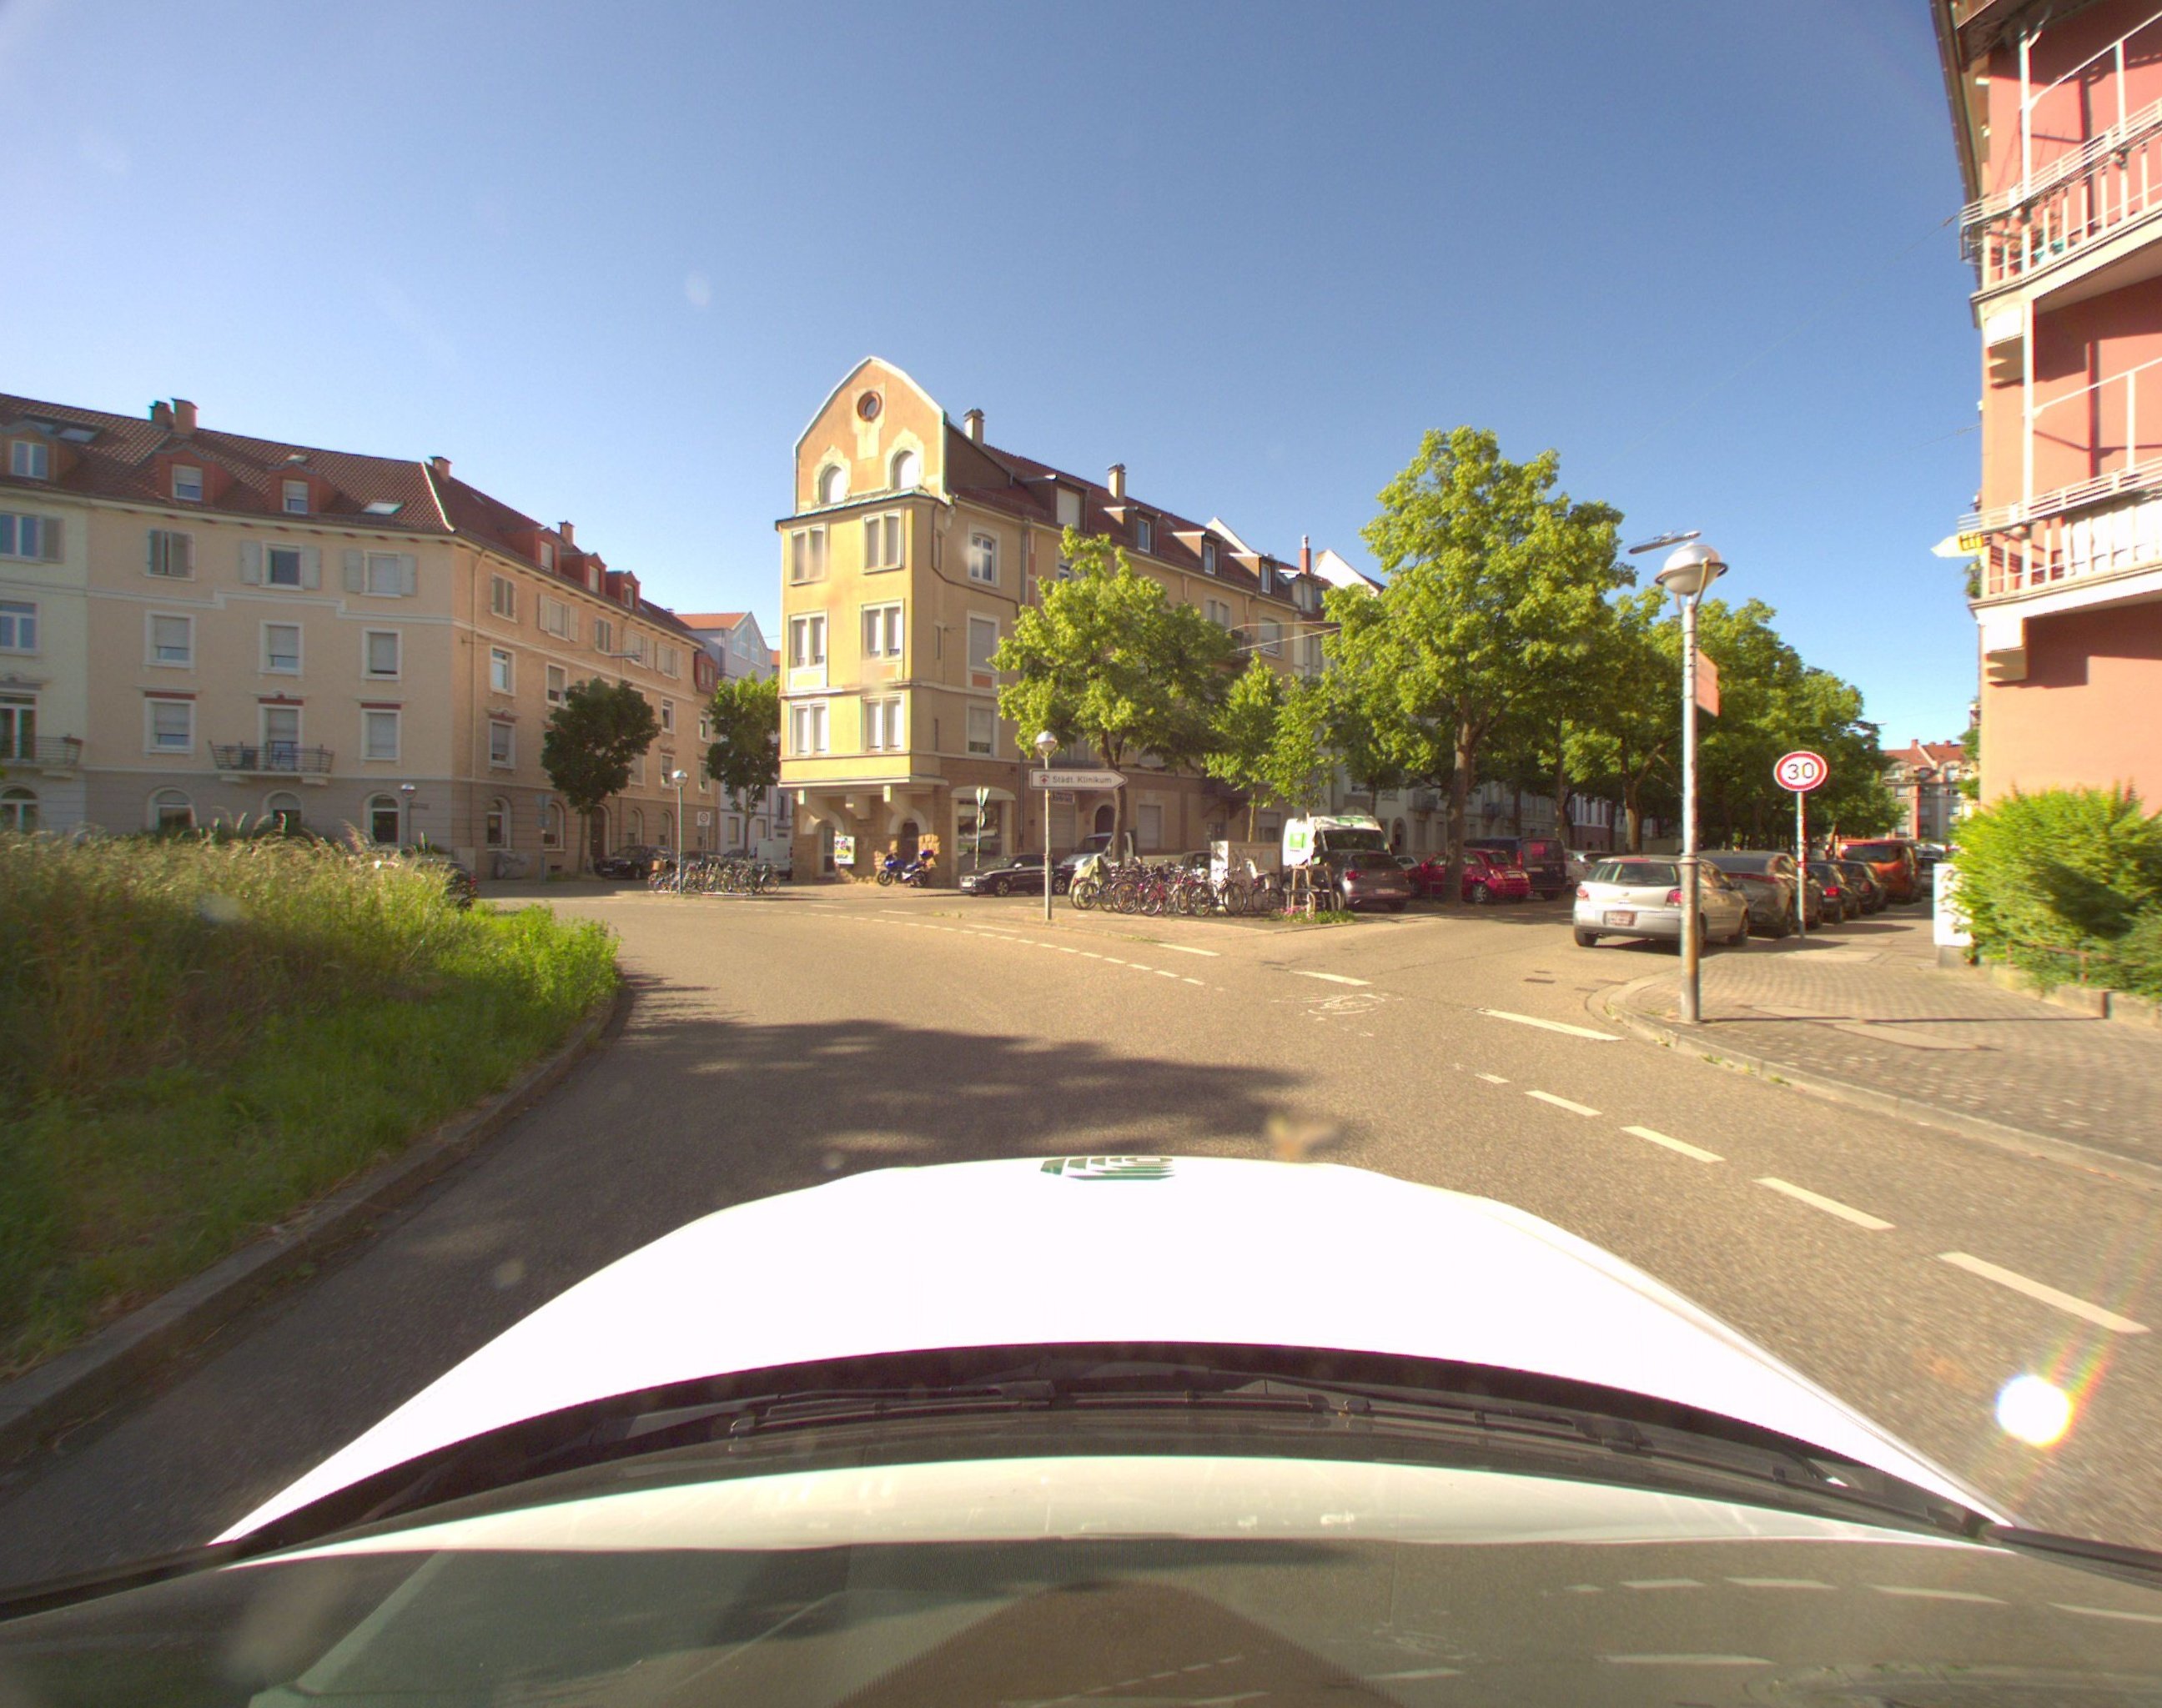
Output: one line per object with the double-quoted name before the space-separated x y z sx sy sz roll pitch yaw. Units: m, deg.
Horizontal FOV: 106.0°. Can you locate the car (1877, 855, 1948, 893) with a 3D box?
"car" 33.350 0.773 32.641 3.514 1.381 1.669 0 2 -40

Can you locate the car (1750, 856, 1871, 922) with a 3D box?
"car" 17.480 0.766 19.476 3.297 1.381 1.669 0 2 -40

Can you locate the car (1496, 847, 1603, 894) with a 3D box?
"car" 15.997 0.521 28.011 1.678 1.470 3.383 1 1 -1

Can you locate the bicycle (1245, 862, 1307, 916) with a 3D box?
"bicycle" 4.266 0.745 17.746 1.533 1.086 0.415 -1 2 -36

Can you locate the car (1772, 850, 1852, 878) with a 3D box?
"car" 43.219 0.566 48.222 1.678 1.470 3.383 1 1 -1

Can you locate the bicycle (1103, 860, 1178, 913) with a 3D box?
"bicycle" 1.365 0.708 18.518 1.738 1.088 0.650 -1 2 -38

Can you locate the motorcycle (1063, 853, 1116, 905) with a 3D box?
"motorcycle" 0.204 0.634 21.630 0.540 1.270 1.694 -1 2 -34

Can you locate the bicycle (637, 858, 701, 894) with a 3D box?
"bicycle" -13.518 0.715 26.767 0.691 1.130 1.878 -1 -1 23

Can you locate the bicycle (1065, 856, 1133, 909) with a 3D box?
"bicycle" 0.445 0.673 19.681 1.688 1.192 0.532 -1 2 -38

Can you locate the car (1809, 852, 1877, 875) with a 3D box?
"car" 53.919 0.639 57.701 1.678 1.470 3.383 1 1 -1

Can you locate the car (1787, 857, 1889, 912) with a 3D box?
"car" 21.312 0.800 22.894 3.297 1.381 1.669 0 2 -40

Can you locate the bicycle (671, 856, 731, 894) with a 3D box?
"bicycle" -12.234 0.662 26.276 0.630 1.145 1.707 0 0 29

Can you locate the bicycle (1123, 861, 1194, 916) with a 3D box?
"bicycle" 1.730 0.740 17.979 1.657 1.102 0.495 -1 2 -37

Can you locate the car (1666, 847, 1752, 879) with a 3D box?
"car" 31.534 0.409 40.999 1.678 1.470 3.383 1 1 -1

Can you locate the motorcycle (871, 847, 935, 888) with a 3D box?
"motorcycle" -6.499 0.476 29.738 2.225 1.411 0.704 2 2 20

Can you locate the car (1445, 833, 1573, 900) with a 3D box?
"car" 12.742 0.322 24.487 1.683 1.864 3.373 1 1 -10

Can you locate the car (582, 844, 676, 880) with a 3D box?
"car" -21.783 0.368 39.470 1.895 1.642 4.351 0 0 3

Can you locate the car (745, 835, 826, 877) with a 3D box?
"car" -14.026 0.100 38.932 2.127 1.909 4.562 0 0 1

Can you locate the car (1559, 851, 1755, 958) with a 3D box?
"car" 9.309 0.698 13.081 3.564 1.446 1.669 0 2 -40

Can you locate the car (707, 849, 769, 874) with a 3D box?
"car" -20.917 0.450 49.807 1.687 1.486 4.011 0 0 7

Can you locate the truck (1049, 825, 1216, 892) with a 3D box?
"truck" 2.092 0.154 31.049 6.654 2.292 2.115 0 -1 -39

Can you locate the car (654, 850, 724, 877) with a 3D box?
"car" -21.339 0.474 44.514 1.687 1.412 3.670 0 0 7

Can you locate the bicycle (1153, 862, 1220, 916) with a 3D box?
"bicycle" 2.311 0.746 17.744 1.581 1.089 0.415 -1 2 -37

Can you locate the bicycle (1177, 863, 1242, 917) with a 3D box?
"bicycle" 2.772 0.758 17.535 1.533 1.086 0.415 -1 2 -36

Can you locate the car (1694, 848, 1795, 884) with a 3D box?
"car" 29.164 0.497 35.918 1.678 1.470 3.383 1 1 -1

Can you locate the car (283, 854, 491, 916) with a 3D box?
"car" -17.187 0.718 20.246 3.960 1.419 1.877 0 1 12

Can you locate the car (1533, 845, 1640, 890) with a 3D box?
"car" 17.986 0.430 29.162 1.678 1.470 3.383 1 1 -1

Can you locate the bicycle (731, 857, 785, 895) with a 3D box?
"bicycle" -10.086 0.679 25.455 0.477 1.123 1.728 0 0 23

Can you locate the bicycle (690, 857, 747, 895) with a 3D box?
"bicycle" -11.479 0.677 25.862 0.609 1.145 1.705 0 0 21

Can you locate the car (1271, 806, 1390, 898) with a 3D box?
"car" 7.861 -0.139 26.433 2.089 2.600 6.380 1 1 2

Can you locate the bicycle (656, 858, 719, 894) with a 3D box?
"bicycle" -12.814 0.701 26.562 0.529 1.090 1.890 0 0 29

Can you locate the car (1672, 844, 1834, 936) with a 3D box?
"car" 13.382 0.611 16.142 4.317 1.562 1.669 0 2 -40

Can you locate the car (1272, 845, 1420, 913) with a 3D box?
"car" 6.414 0.538 20.201 1.685 1.446 3.904 1 1 -14

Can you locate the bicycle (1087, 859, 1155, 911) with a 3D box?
"bicycle" 0.952 0.697 19.090 1.610 1.126 0.583 -1 2 -38

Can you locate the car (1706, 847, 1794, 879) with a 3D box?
"car" 34.223 0.438 41.749 1.678 1.470 3.383 1 1 -1

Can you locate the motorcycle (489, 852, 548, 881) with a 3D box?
"motorcycle" -25.201 0.559 36.541 0.935 1.220 2.158 2 1 7

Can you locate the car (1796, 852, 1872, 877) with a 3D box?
"car" 47.997 0.633 51.975 1.678 1.470 3.383 1 1 -1

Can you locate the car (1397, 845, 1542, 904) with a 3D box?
"car" 10.816 0.514 22.880 1.691 1.446 3.356 0 1 -25

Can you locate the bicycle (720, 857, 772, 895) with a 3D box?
"bicycle" -10.510 0.680 25.608 0.478 1.123 1.705 0 0 21

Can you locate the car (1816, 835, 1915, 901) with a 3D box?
"car" 26.863 0.420 27.846 4.296 2.044 1.920 0 2 -40

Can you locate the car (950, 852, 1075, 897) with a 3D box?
"car" -2.229 0.632 27.171 3.944 1.390 1.667 0 -1 -43

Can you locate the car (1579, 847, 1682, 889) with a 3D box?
"car" 21.309 0.497 31.730 1.678 1.470 3.383 1 1 -1

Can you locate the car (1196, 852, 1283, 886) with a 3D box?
"car" 6.820 0.613 34.817 3.944 1.390 1.667 0 -1 -43

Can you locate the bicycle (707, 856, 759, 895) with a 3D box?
"bicycle" -10.953 0.652 25.703 0.446 1.191 1.705 0 0 21

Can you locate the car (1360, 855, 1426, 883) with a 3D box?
"car" 16.347 0.752 42.627 3.944 1.390 1.667 0 -1 -43
